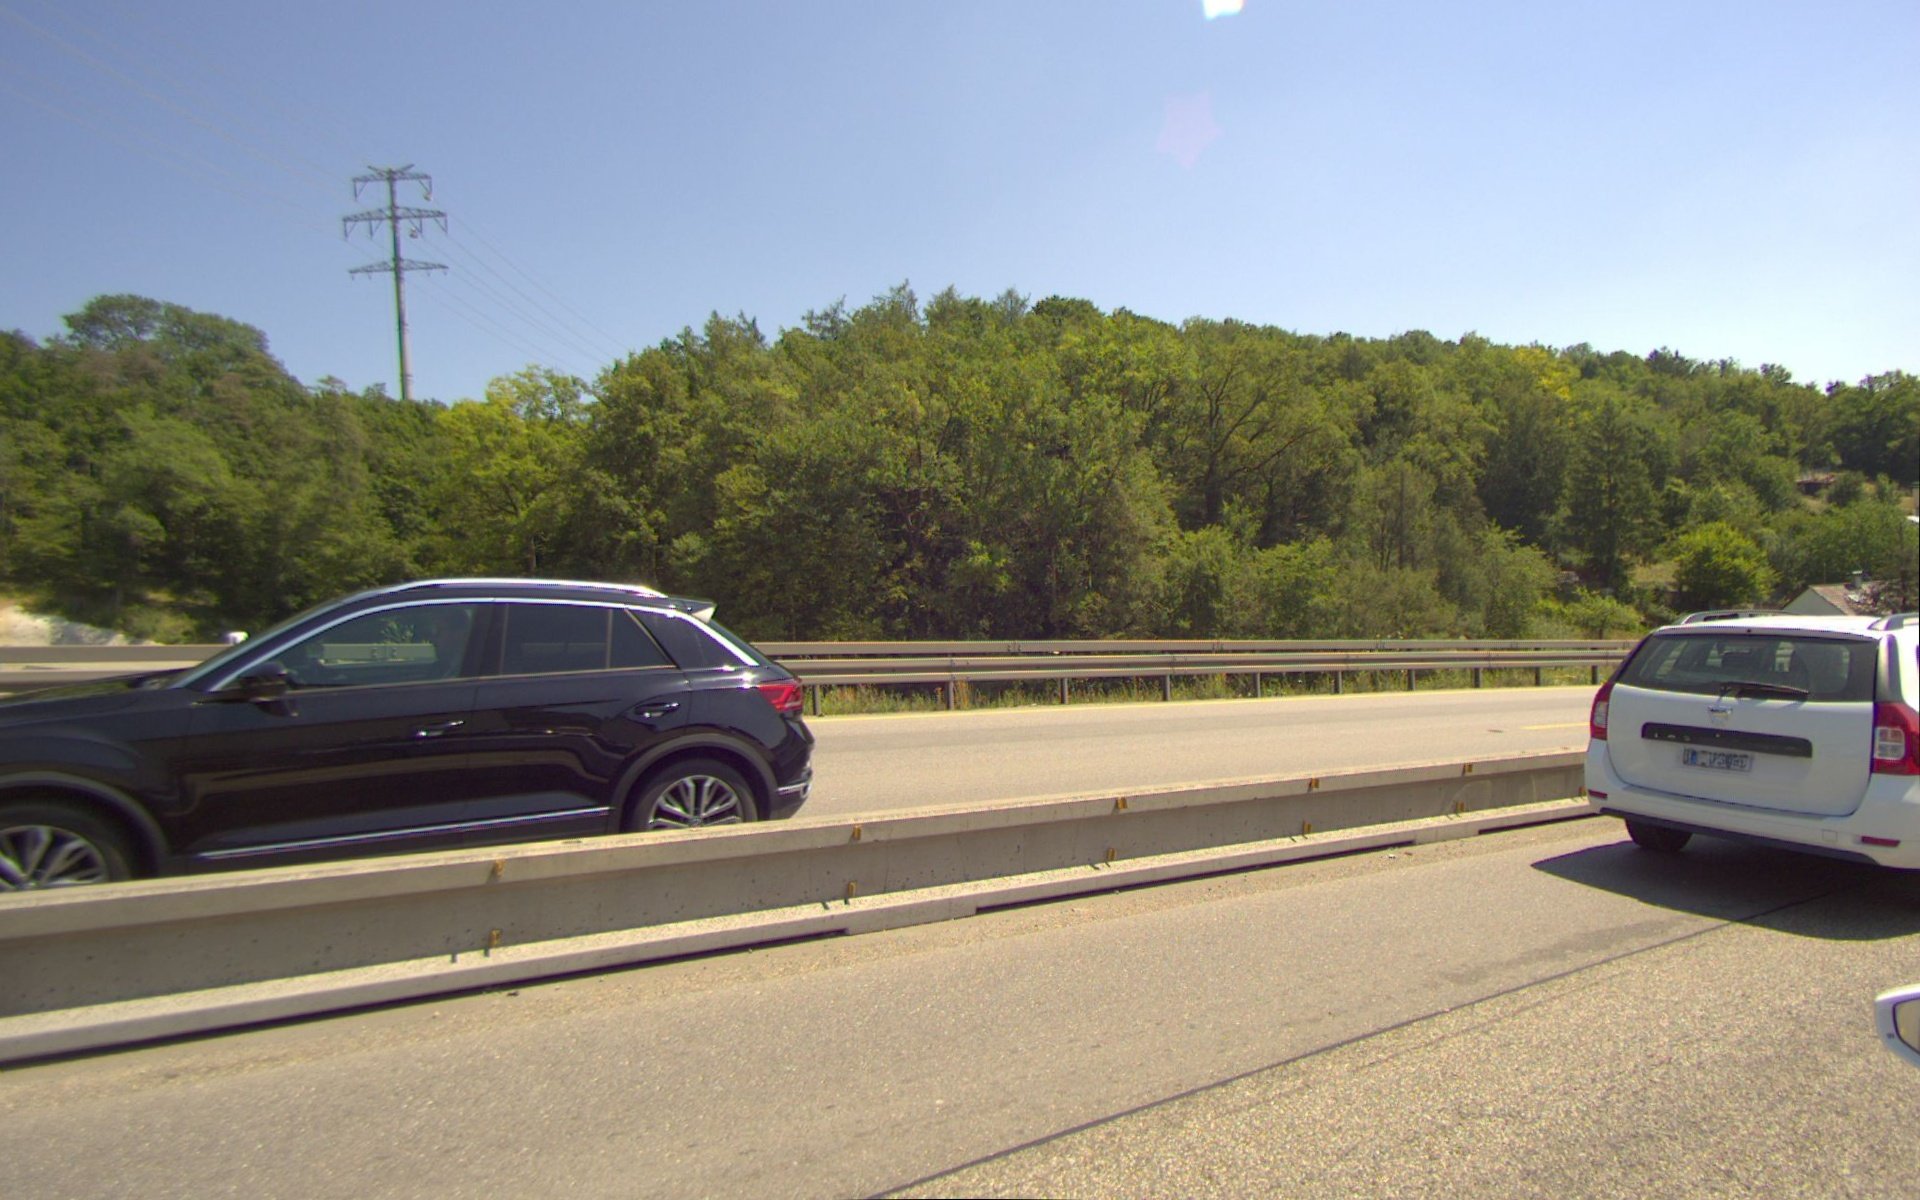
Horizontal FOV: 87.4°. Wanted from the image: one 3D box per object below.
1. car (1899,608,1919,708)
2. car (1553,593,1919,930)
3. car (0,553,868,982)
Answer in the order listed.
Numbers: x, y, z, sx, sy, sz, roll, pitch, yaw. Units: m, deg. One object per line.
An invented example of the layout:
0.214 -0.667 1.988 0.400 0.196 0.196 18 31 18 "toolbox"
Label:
18.025 1.021 17.161 3.951 1.663 1.731 1 0 -29 "car"
5.734 0.799 6.260 4.215 1.503 1.644 2 -2 -29 "car"
-2.655 0.634 5.181 3.989 1.572 1.720 2 0 -31 "car"
